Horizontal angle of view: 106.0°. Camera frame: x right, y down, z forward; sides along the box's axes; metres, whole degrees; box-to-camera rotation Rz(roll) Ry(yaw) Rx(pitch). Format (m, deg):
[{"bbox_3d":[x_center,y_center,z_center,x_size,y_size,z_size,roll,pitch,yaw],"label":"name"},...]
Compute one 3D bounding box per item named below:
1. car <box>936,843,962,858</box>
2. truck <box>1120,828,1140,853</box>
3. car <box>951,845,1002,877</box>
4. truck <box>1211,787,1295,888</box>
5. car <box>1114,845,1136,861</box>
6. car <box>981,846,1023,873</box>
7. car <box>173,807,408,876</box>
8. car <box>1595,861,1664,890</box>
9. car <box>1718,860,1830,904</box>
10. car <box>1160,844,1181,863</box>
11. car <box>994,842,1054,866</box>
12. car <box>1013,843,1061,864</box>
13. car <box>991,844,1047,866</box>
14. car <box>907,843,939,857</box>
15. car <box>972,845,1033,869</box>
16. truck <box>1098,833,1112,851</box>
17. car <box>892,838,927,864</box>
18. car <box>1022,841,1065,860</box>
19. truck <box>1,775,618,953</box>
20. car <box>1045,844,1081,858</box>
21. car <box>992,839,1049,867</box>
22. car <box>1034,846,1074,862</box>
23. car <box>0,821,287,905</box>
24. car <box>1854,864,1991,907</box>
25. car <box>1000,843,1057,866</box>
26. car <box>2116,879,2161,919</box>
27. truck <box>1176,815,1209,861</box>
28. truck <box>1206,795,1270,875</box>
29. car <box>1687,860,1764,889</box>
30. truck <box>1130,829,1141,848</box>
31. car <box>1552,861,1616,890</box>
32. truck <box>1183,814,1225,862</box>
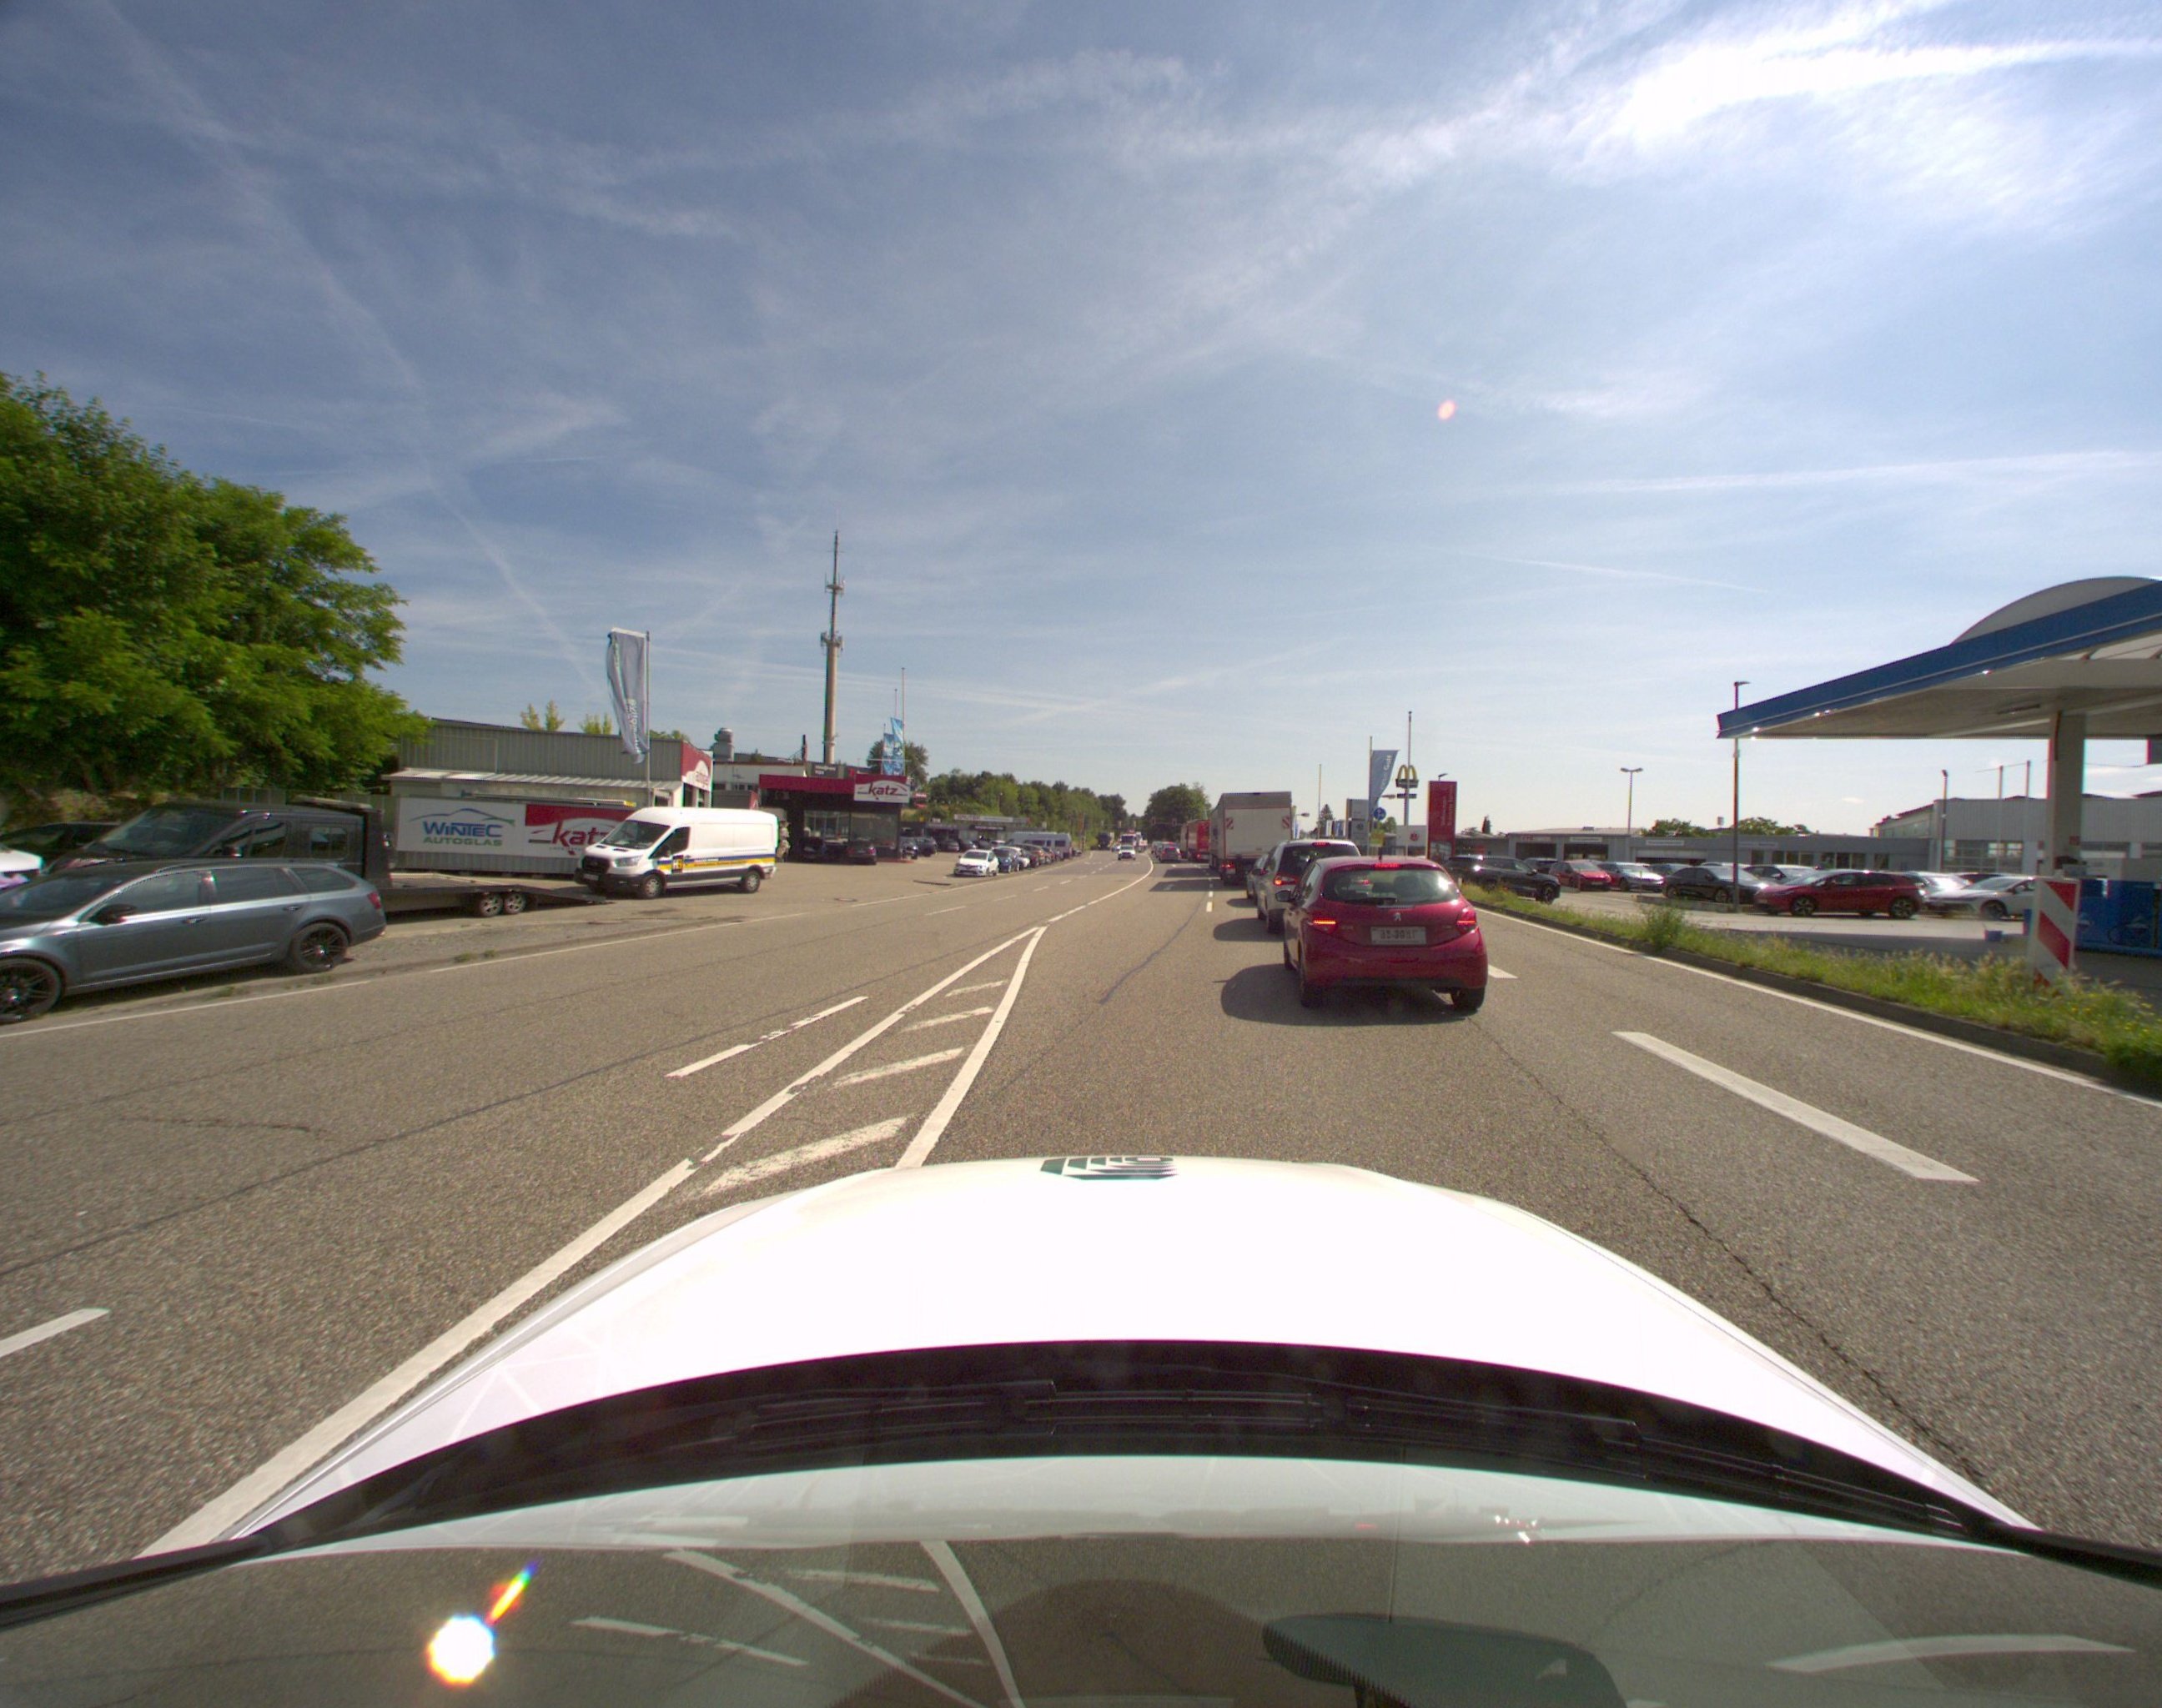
[{"bbox_3d":[-15.163,-0.409,93.580,1.774,1.588,3.794,0,1,-28],"label":"car"},{"bbox_3d":[8.463,-2.317,140.119,2.941,4.209,10.665,-1,1,6],"label":"truck"},{"bbox_3d":[-5.609,0.365,44.318,1.770,1.618,4.008,1,1,7],"label":"car"},{"bbox_3d":[7.351,-0.688,36.194,2.863,3.810,11.168,1,1,8],"label":"truck"},{"bbox_3d":[4.690,-0.094,86.031,1.925,1.674,4.009,-1,0,8],"label":"car"},{"bbox_3d":[-4.951,0.320,51.435,1.770,1.493,3.789,5,1,7],"label":"car"},{"bbox_3d":[-18.983,-0.283,19.767,3.668,1.529,1.729,1,0,-18],"label":"car"},{"bbox_3d":[28.777,1.119,42.843,1.550,1.409,3.603,-1,0,8],"label":"car"},{"bbox_3d":[27.337,1.057,32.289,1.550,1.594,3.869,-1,0,8],"label":"car"},{"bbox_3d":[8.007,-0.055,72.443,1.780,1.638,3.511,0,0,8],"label":"car"},{"bbox_3d":[-4.347,-0.029,62.305,4.259,1.484,1.838,4,1,3],"label":"car"},{"bbox_3d":[-3.709,-0.019,69.847,3.829,1.484,1.803,4,1,3],"label":"car"},{"bbox_3d":[-4.298,0.052,56.889,3.692,1.525,1.794,0,1,3],"label":"car"},{"bbox_3d":[-18.042,-0.506,92.992,3.782,1.588,1.779,1,1,45],"label":"car"},{"bbox_3d":[-5.251,0.168,54.622,3.780,1.525,1.848,0,1,3],"label":"car"},{"bbox_3d":[5.120,-2.491,171.454,2.803,3.786,6.991,-1,1,1],"label":"truck"},{"bbox_3d":[-12.868,-0.223,60.980,1.827,1.674,4.100,6,-2,-20],"label":"car"},{"bbox_3d":[-3.423,-0.343,74.470,3.692,1.484,1.709,4,1,3],"label":"car"},{"bbox_3d":[-13.445,0.100,15.832,2.316,2.296,8.831,6,1,11],"label":"truck"},{"bbox_3d":[-2.009,-0.305,90.184,3.800,1.539,1.844,0,1,3],"label":"car"},{"bbox_3d":[-4.400,-0.065,59.500,3.870,1.716,1.808,4,1,3],"label":"car"},{"bbox_3d":[-2.545,-0.006,77.825,3.576,1.480,1.815,0,1,5],"label":"car"},{"bbox_3d":[-17.982,0.163,15.532,3.662,1.469,1.733,1,0,-12],"label":"car"},{"bbox_3d":[32.172,1.162,31.283,1.605,1.443,3.869,-1,0,8],"label":"car"},{"bbox_3d":[-4.290,0.025,66.941,4.441,1.484,1.773,4,1,3],"label":"car"},{"bbox_3d":[39.700,1.647,28.921,1.550,1.409,3.603,-1,0,8],"label":"car"},{"bbox_3d":[13.716,-1.941,101.560,3.048,5.220,17.030,1,1,5],"label":"truck"},{"bbox_3d":[9.714,-1.106,52.058,2.874,4.265,16.744,1,1,7],"label":"truck"},{"bbox_3d":[34.238,1.071,43.369,1.550,1.409,3.697,-1,0,8],"label":"car"},{"bbox_3d":[13.080,-3.674,194.829,2.541,4.307,7.605,0,1,5],"label":"truck"},{"bbox_3d":[26.557,1.113,43.109,1.550,1.409,3.603,-1,0,8],"label":"car"},{"bbox_3d":[11.981,-1.526,81.033,2.943,4.269,16.606,1,1,5],"label":"truck"}]
